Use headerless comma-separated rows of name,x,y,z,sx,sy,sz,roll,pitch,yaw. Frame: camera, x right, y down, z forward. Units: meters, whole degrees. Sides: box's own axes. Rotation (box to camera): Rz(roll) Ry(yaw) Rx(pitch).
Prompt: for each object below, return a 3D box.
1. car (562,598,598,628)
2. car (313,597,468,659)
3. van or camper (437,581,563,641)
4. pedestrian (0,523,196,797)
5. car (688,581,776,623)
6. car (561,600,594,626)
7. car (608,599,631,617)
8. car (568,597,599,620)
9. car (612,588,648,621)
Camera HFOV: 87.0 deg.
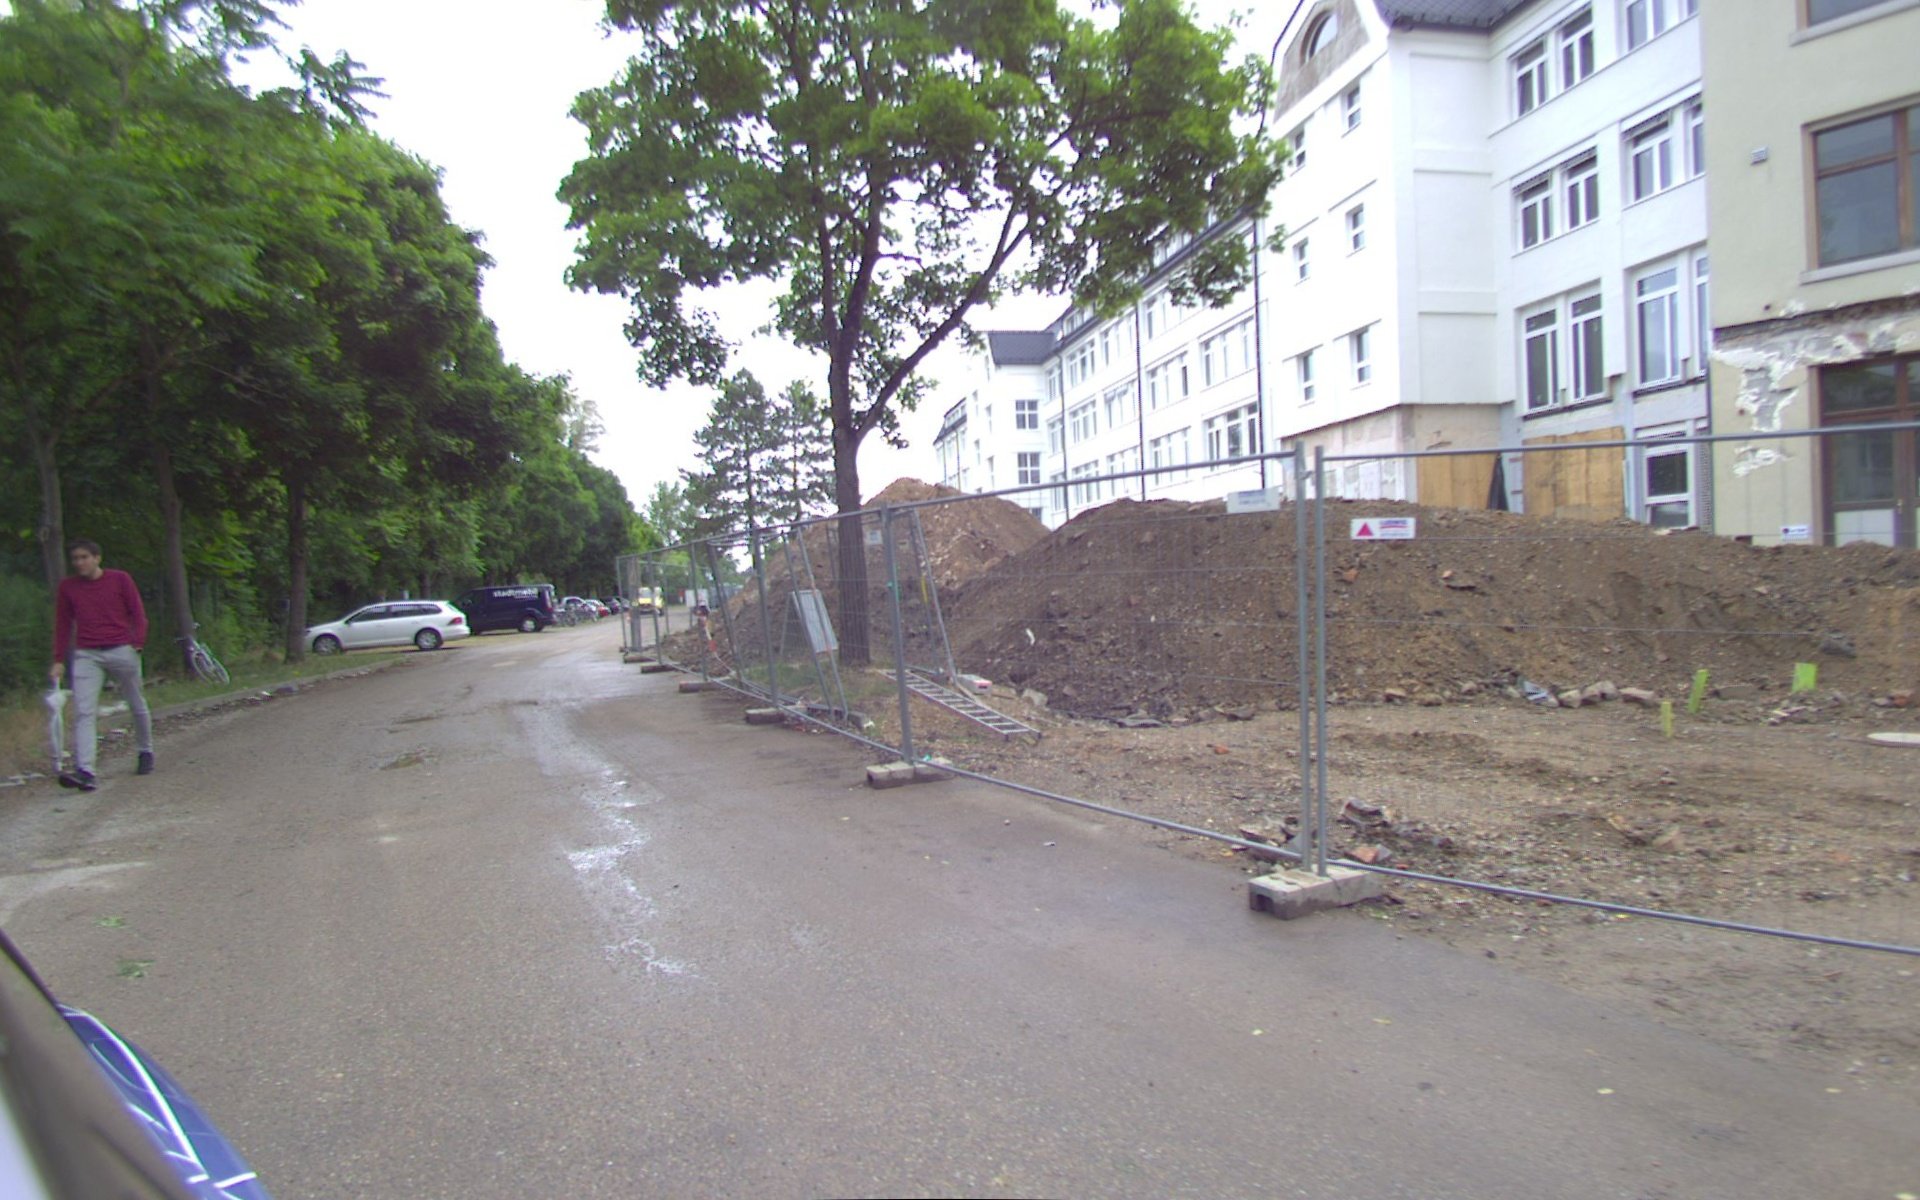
car,-22.158,0.730,58.917,1.790,1.608,4.013,-2,1,-22
car,-16.671,0.783,29.849,3.819,1.586,1.758,-2,1,-25
van or camper,-19.188,0.421,42.424,4.427,2.275,2.005,-2,1,-12
pedestrian,-7.129,0.453,8.440,0.781,2.080,1.204,-2,0,-17
car,-11.071,0.103,49.375,3.939,1.851,2.003,-2,1,-5
car,-25.915,0.842,68.631,1.966,1.608,4.013,-2,1,-21
car,-32.036,0.734,95.229,1.966,1.608,4.012,-2,1,-18
car,-28.309,0.636,76.206,1.966,1.608,4.012,-2,1,-18
car,-21.974,0.295,67.298,2.089,2.029,4.013,-2,1,-20
